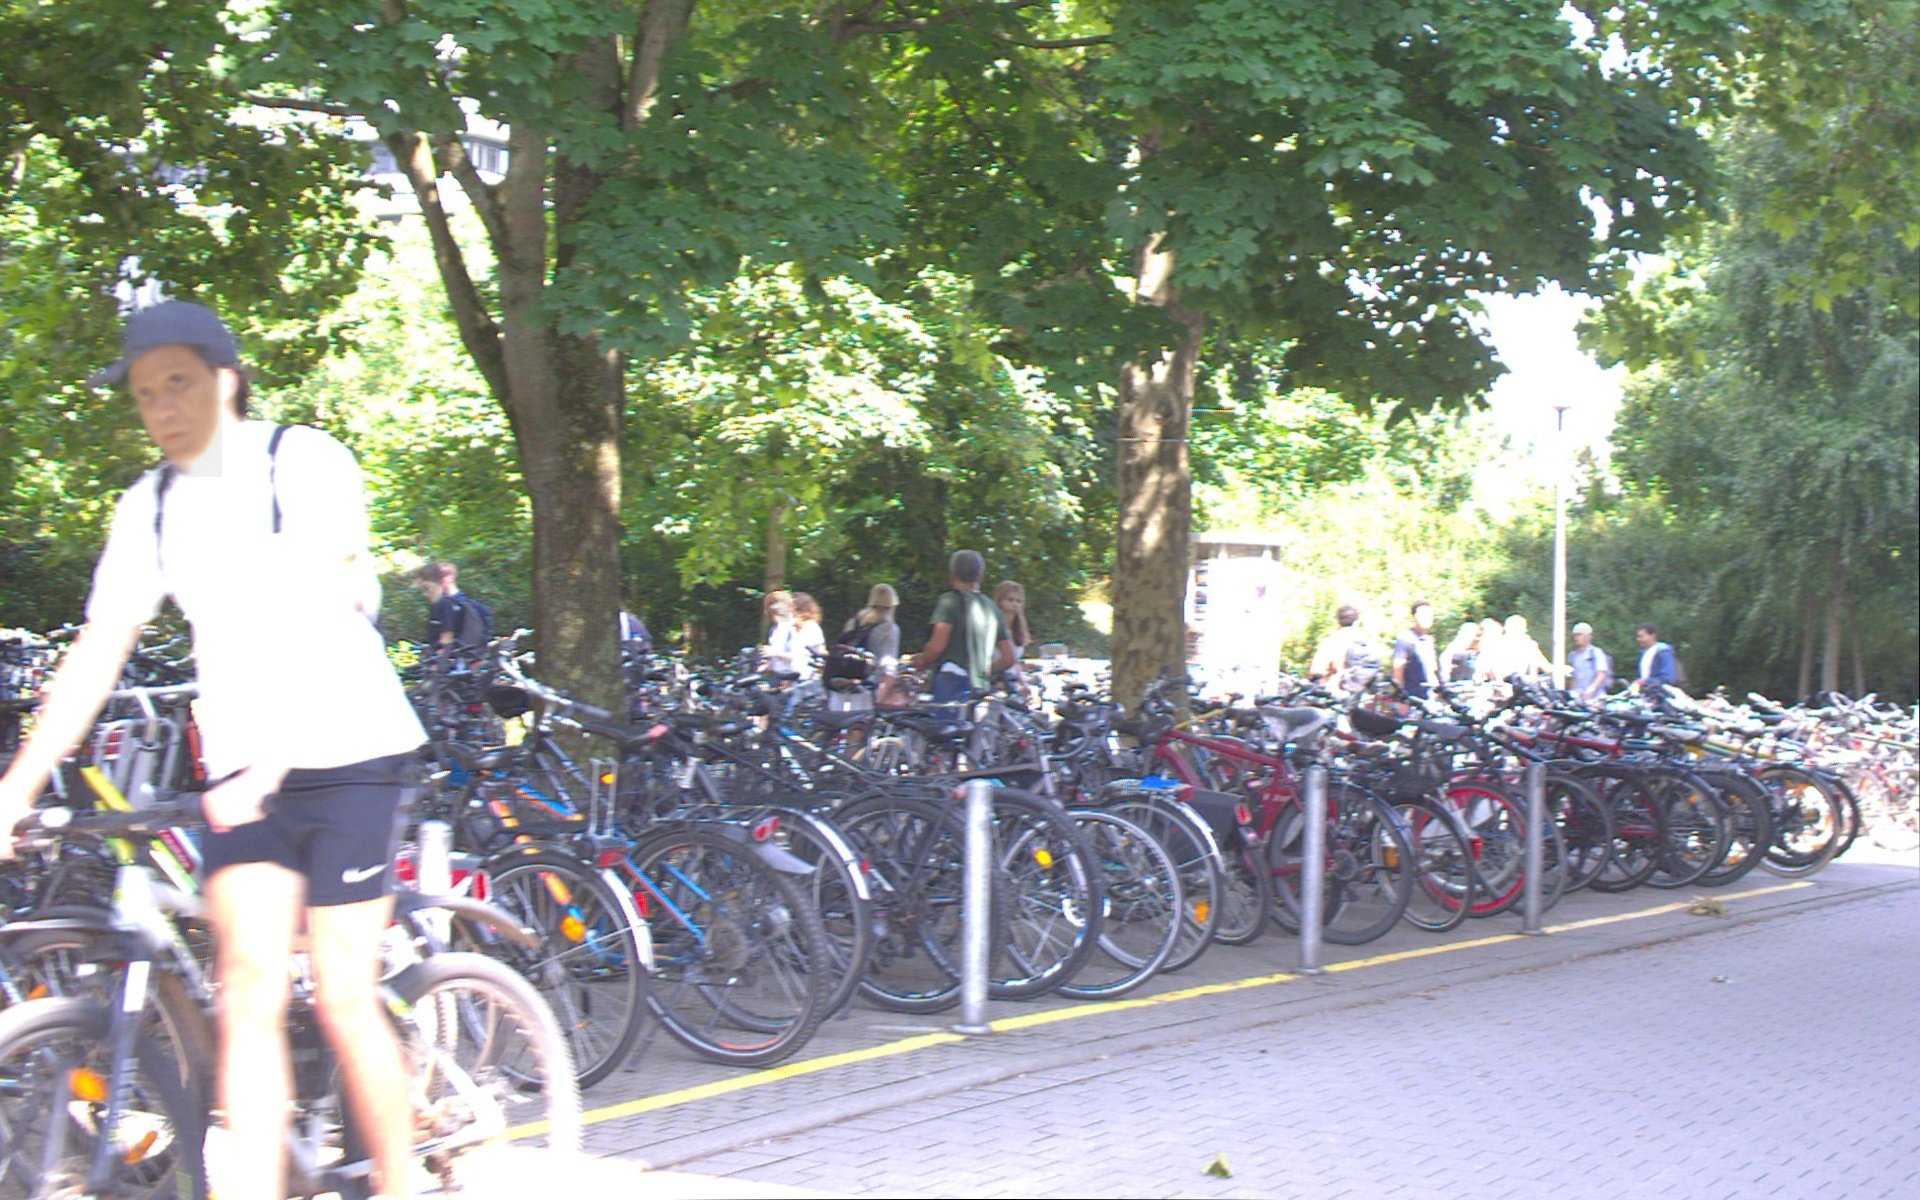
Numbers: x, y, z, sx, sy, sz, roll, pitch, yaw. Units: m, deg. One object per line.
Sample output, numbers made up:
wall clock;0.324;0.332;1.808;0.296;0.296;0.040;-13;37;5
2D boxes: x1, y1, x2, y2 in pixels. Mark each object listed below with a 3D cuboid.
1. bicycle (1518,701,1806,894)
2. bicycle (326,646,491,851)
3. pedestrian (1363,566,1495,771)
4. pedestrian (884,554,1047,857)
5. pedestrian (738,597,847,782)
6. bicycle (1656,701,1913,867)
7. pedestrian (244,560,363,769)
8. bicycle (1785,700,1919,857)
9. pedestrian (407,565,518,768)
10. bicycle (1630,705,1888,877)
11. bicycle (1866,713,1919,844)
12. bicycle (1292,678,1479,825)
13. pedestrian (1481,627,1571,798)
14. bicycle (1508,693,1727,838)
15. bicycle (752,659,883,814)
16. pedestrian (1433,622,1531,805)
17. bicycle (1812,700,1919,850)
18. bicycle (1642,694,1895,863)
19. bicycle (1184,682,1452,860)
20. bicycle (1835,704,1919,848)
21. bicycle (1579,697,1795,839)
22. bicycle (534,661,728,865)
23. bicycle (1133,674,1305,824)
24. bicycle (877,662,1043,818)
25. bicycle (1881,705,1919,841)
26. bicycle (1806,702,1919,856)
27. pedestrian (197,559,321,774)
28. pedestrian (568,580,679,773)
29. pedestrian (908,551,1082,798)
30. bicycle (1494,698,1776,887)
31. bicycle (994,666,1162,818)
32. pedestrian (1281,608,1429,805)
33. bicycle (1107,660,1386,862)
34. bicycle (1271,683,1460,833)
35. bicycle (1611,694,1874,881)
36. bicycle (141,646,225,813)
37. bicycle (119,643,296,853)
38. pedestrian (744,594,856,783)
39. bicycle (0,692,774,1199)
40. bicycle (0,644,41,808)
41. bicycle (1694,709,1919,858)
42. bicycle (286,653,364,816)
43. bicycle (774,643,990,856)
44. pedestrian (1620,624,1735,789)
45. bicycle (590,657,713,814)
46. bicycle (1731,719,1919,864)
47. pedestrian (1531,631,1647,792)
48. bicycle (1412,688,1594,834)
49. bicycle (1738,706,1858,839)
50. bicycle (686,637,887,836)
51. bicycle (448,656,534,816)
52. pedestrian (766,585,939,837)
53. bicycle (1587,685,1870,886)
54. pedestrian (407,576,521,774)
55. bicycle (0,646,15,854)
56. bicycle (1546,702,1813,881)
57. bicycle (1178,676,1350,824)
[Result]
bicycle;4.381;1.219;21.459;1.695;1.104;0.474;2;-1;15
bicycle;-3.219;0.842;19.979;0.501;1.104;1.700;3;-1;-23
pedestrian;4.271;0.621;31.300;0.938;1.829;0.686;1;-1;-29
pedestrian;0.028;0.638;21.037;0.767;1.800;0.710;2;-1;-16
pedestrian;-1.572;0.828;32.100;0.904;1.674;0.770;2;-1;-7
bicycle;5.922;1.320;24.722;1.694;1.104;0.474;2;-1;0
pedestrian;-5.726;0.561;30.024;0.904;1.768;0.770;2;-1;-7
bicycle;7.341;1.403;26.812;1.695;1.164;0.474;2;-1;10
pedestrian;-4.467;0.592;30.891;0.904;1.768;0.770;2;-1;-7
bicycle;5.595;1.325;24.069;1.695;1.104;0.582;2;-1;16
bicycle;8.650;1.550;29.354;1.696;1.087;0.473;2;-1;21
bicycle;3.380;1.195;27.447;0.472;1.080;1.699;3;-1;-32
pedestrian;5.766;1.140;35.053;0.684;1.718;0.731;1;0;-9
bicycle;5.315;1.328;27.845;1.698;1.080;0.473;2;-1;40
bicycle;-1.078;1.001;25.624;0.472;1.080;1.700;3;-1;-19
pedestrian;5.044;1.090;33.210;0.685;1.718;0.730;3;0;25
bicycle;7.872;1.439;27.945;1.780;1.164;0.473;2;-1;40
bicycle;5.916;1.302;25.189;1.694;1.153;0.474;2;-1;0
bicycle;2.417;1.142;23.213;1.695;1.104;0.502;2;-1;16
bicycle;8.229;1.485;28.717;1.696;1.164;0.473;2;-1;21
bicycle;6.049;1.388;28.672;1.698;1.080;0.473;2;-1;39
bicycle;-1.953;0.941;20.227;0.501;1.104;1.700;3;-1;-27
bicycle;2.005;1.148;26.818;0.472;1.080;1.700;3;-1;-28
bicycle;-0.015;1.036;25.796;0.472;1.080;1.700;3;-1;-28
bicycle;8.881;1.527;29.762;1.695;1.155;0.473;2;-1;18
bicycle;7.607;1.434;27.284;1.695;1.164;0.474;2;-1;14
pedestrian;-5.946;0.557;29.200;0.904;1.768;0.770;2;-1;-7
pedestrian;-3.013;0.678;30.735;0.904;1.674;0.770;2;-1;-7
pedestrian;0.247;0.520;24.287;0.904;1.697;0.770;2;-1;-31
bicycle;4.305;1.216;21.915;1.695;1.104;0.474;2;-1;16
bicycle;0.894;1.079;26.433;0.472;1.080;1.700;3;-1;-28
pedestrian;3.521;0.938;30.666;1.061;1.718;0.719;1;-1;-31
bicycle;1.858;1.034;22.315;1.695;1.216;0.502;2;-1;16
bicycle;3.153;1.219;26.876;0.472;1.080;1.699;3;-1;-32
bicycle;5.369;1.273;23.593;1.695;1.183;0.474;2;-1;16
bicycle;-5.365;0.876;23.779;0.472;1.080;1.700;2;-1;-11
bicycle;-4.311;0.825;19.616;0.629;1.104;1.700;3;-1;-23
pedestrian;-1.462;0.798;31.283;0.904;1.674;0.770;2;-1;-7
bicycle;-1.269;0.777;6.283;0.804;1.168;1.882;3;0;35
bicycle;-6.749;0.859;24.005;0.472;1.080;1.700;2;-1;-11
bicycle;6.515;1.398;26.230;1.693;1.058;0.474;2;-1;-8
bicycle;-4.488;0.930;24.260;0.472;1.080;1.700;2;-1;-11
bicycle;-0.492;0.885;20.800;0.574;1.195;1.700;3;-1;-27
pedestrian;8.075;1.191;38.725;0.879;1.809;0.835;2;-1;-29
bicycle;-2.291;0.983;25.387;0.472;1.080;1.700;3;-1;-19
bicycle;6.689;1.436;25.745;1.693;1.015;0.474;2;-1;-8
pedestrian;7.199;1.273;39.363;0.980;1.798;0.770;2;-1;-31
bicycle;4.342;1.280;27.598;0.472;1.080;1.700;3;-1;-28
bicycle;7.166;1.463;29.352;0.508;1.080;1.696;2;-1;30
bicycle;-1.055;0.799;20.551;0.501;1.104;1.700;3;-1;-27
bicycle;-3.393;0.961;24.786;0.472;1.080;1.700;2;-1;-11
pedestrian;-0.751;0.765;23.888;0.904;1.697;0.770;2;-1;-26
bicycle;4.973;1.187;22.248;1.696;1.194;0.536;2;-1;19
pedestrian;-4.320;0.649;29.983;0.904;1.674;0.770;2;-1;-7
bicycle;-5.665;0.795;19.150;0.501;1.104;1.700;3;-1;-23
bicycle;4.865;1.283;23.230;1.695;1.104;0.565;2;-1;16
bicycle;2.383;1.168;27.120;0.472;1.080;1.700;3;-1;-28
